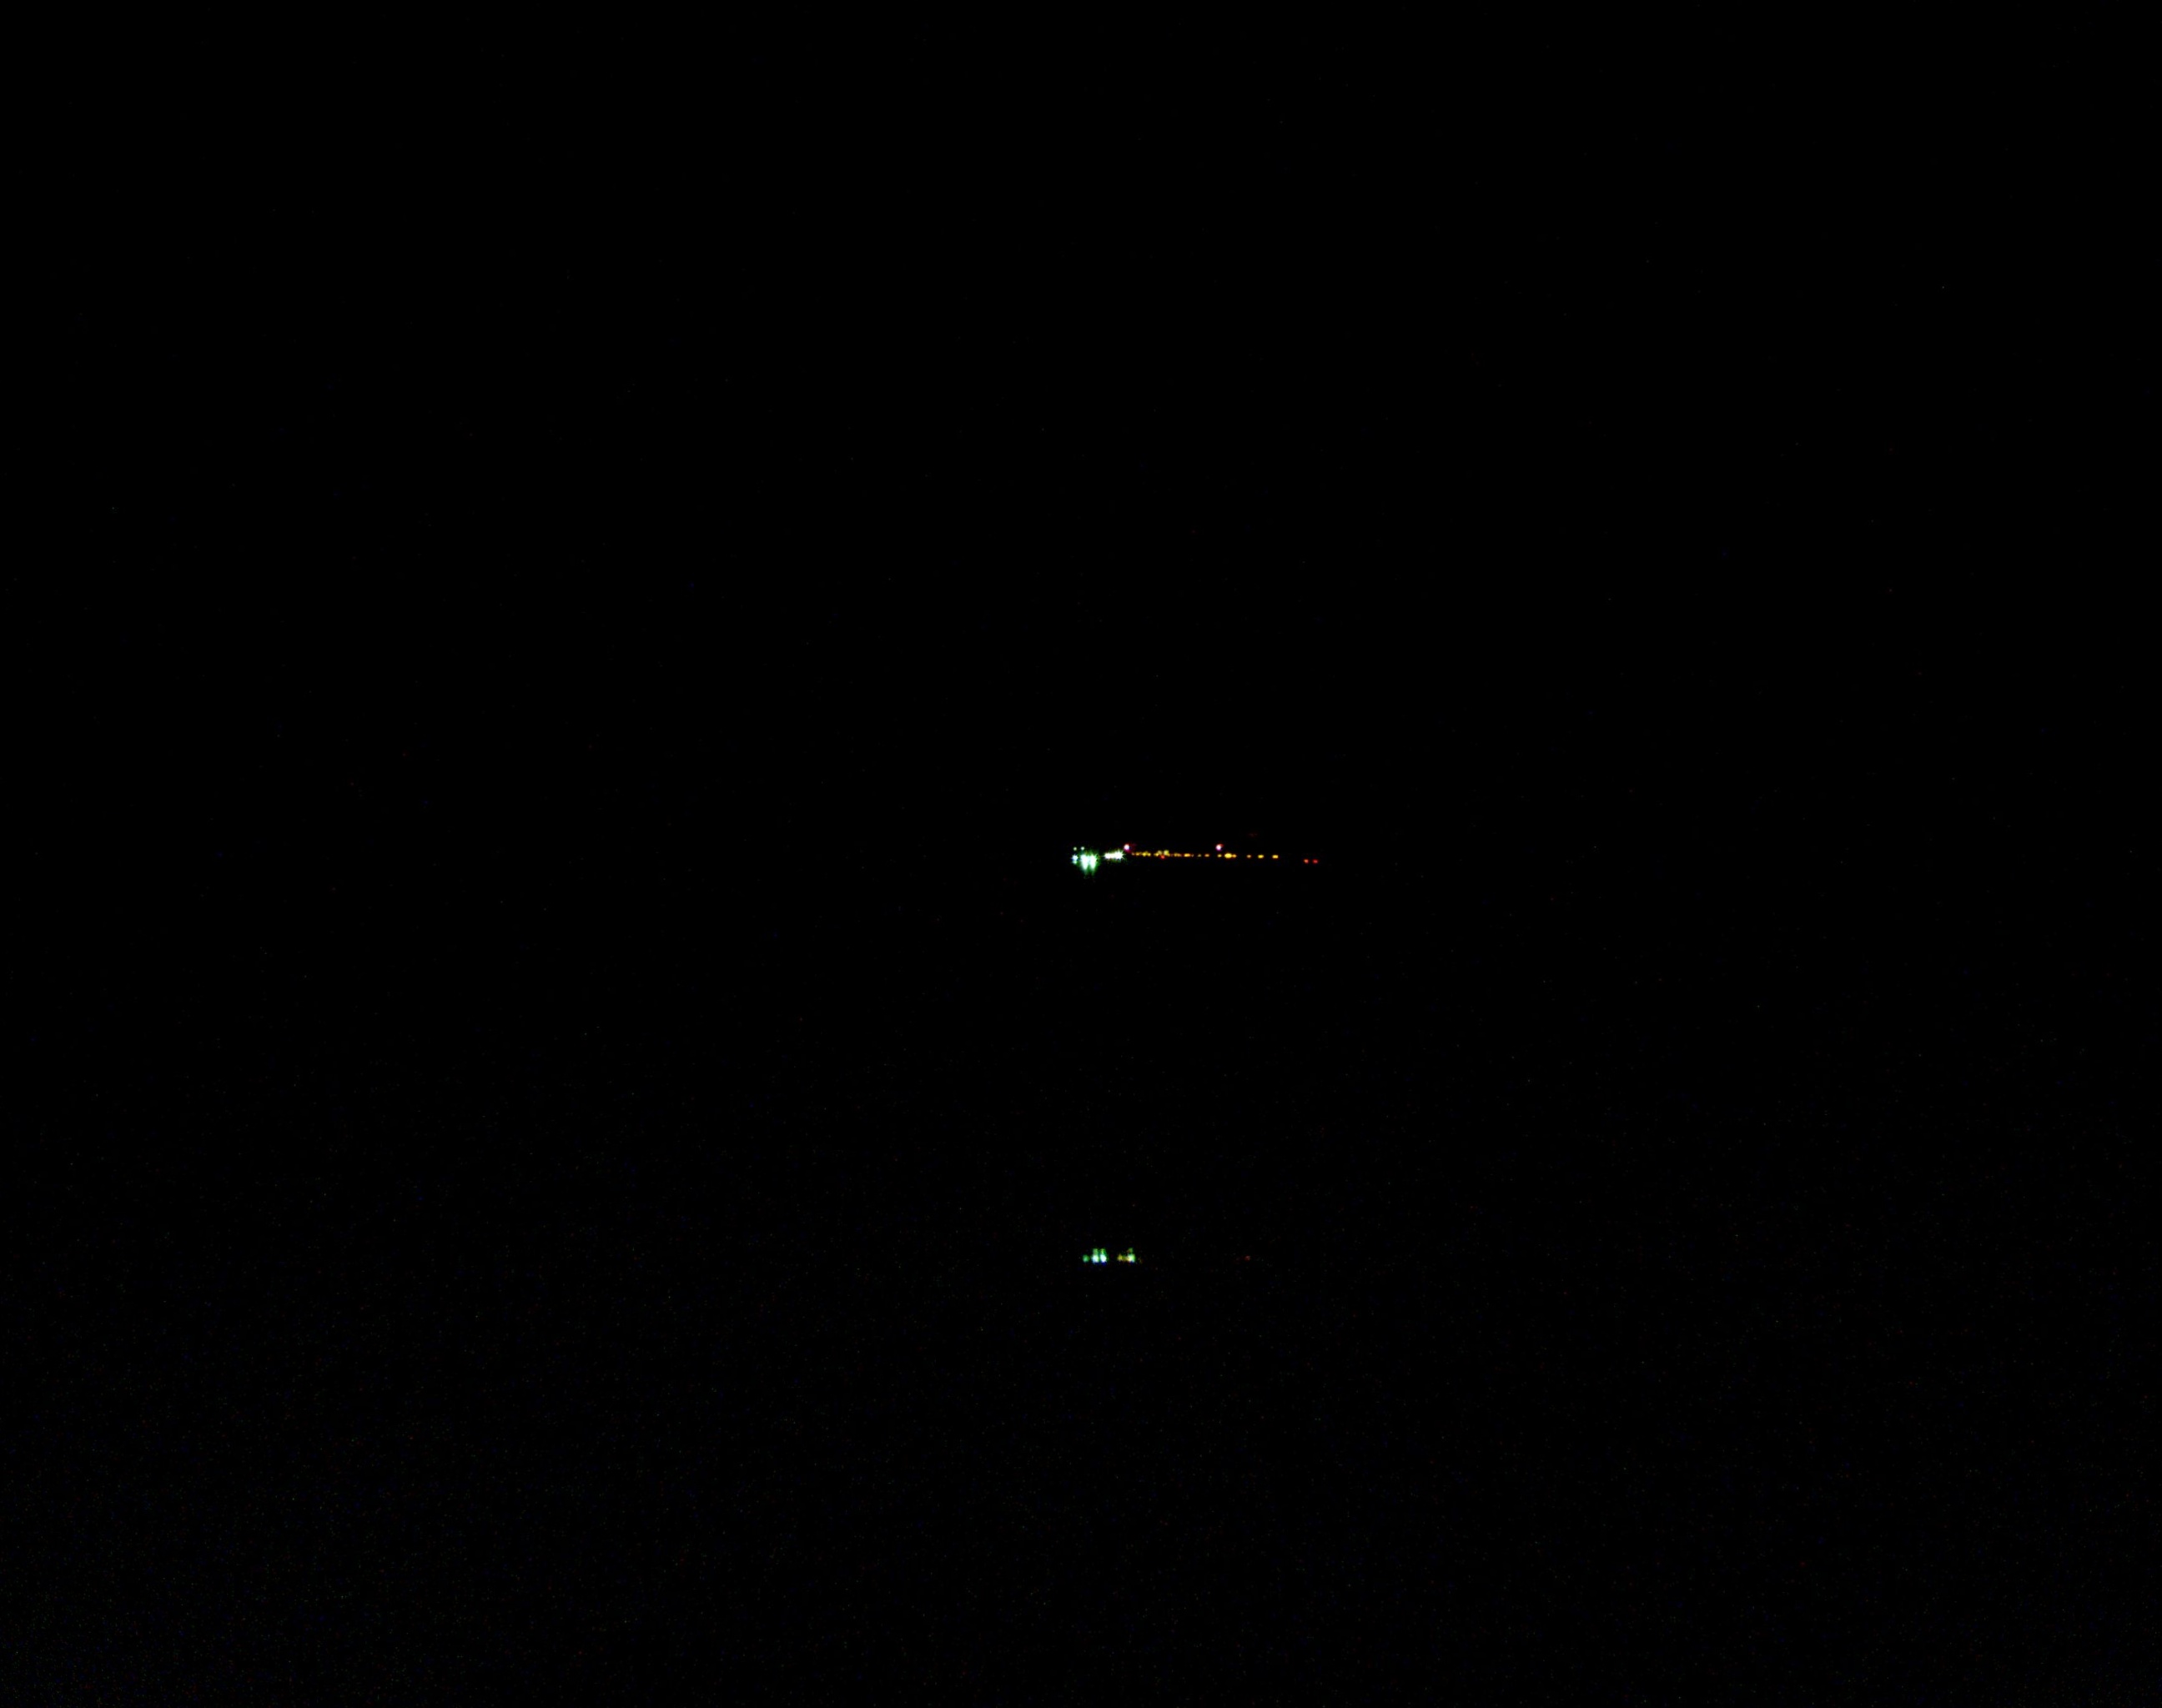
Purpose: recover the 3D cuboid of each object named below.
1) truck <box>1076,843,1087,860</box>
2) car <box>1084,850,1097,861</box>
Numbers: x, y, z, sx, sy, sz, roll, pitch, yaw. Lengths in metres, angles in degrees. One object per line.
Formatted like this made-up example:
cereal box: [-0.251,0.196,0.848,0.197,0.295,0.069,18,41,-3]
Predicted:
truck: [0.115,-0.739,199.128,2.749,4.182,13.508,-3,1,0]
car: [1.863,0.269,147.975,2.267,1.842,5.402,-3,1,-1]
